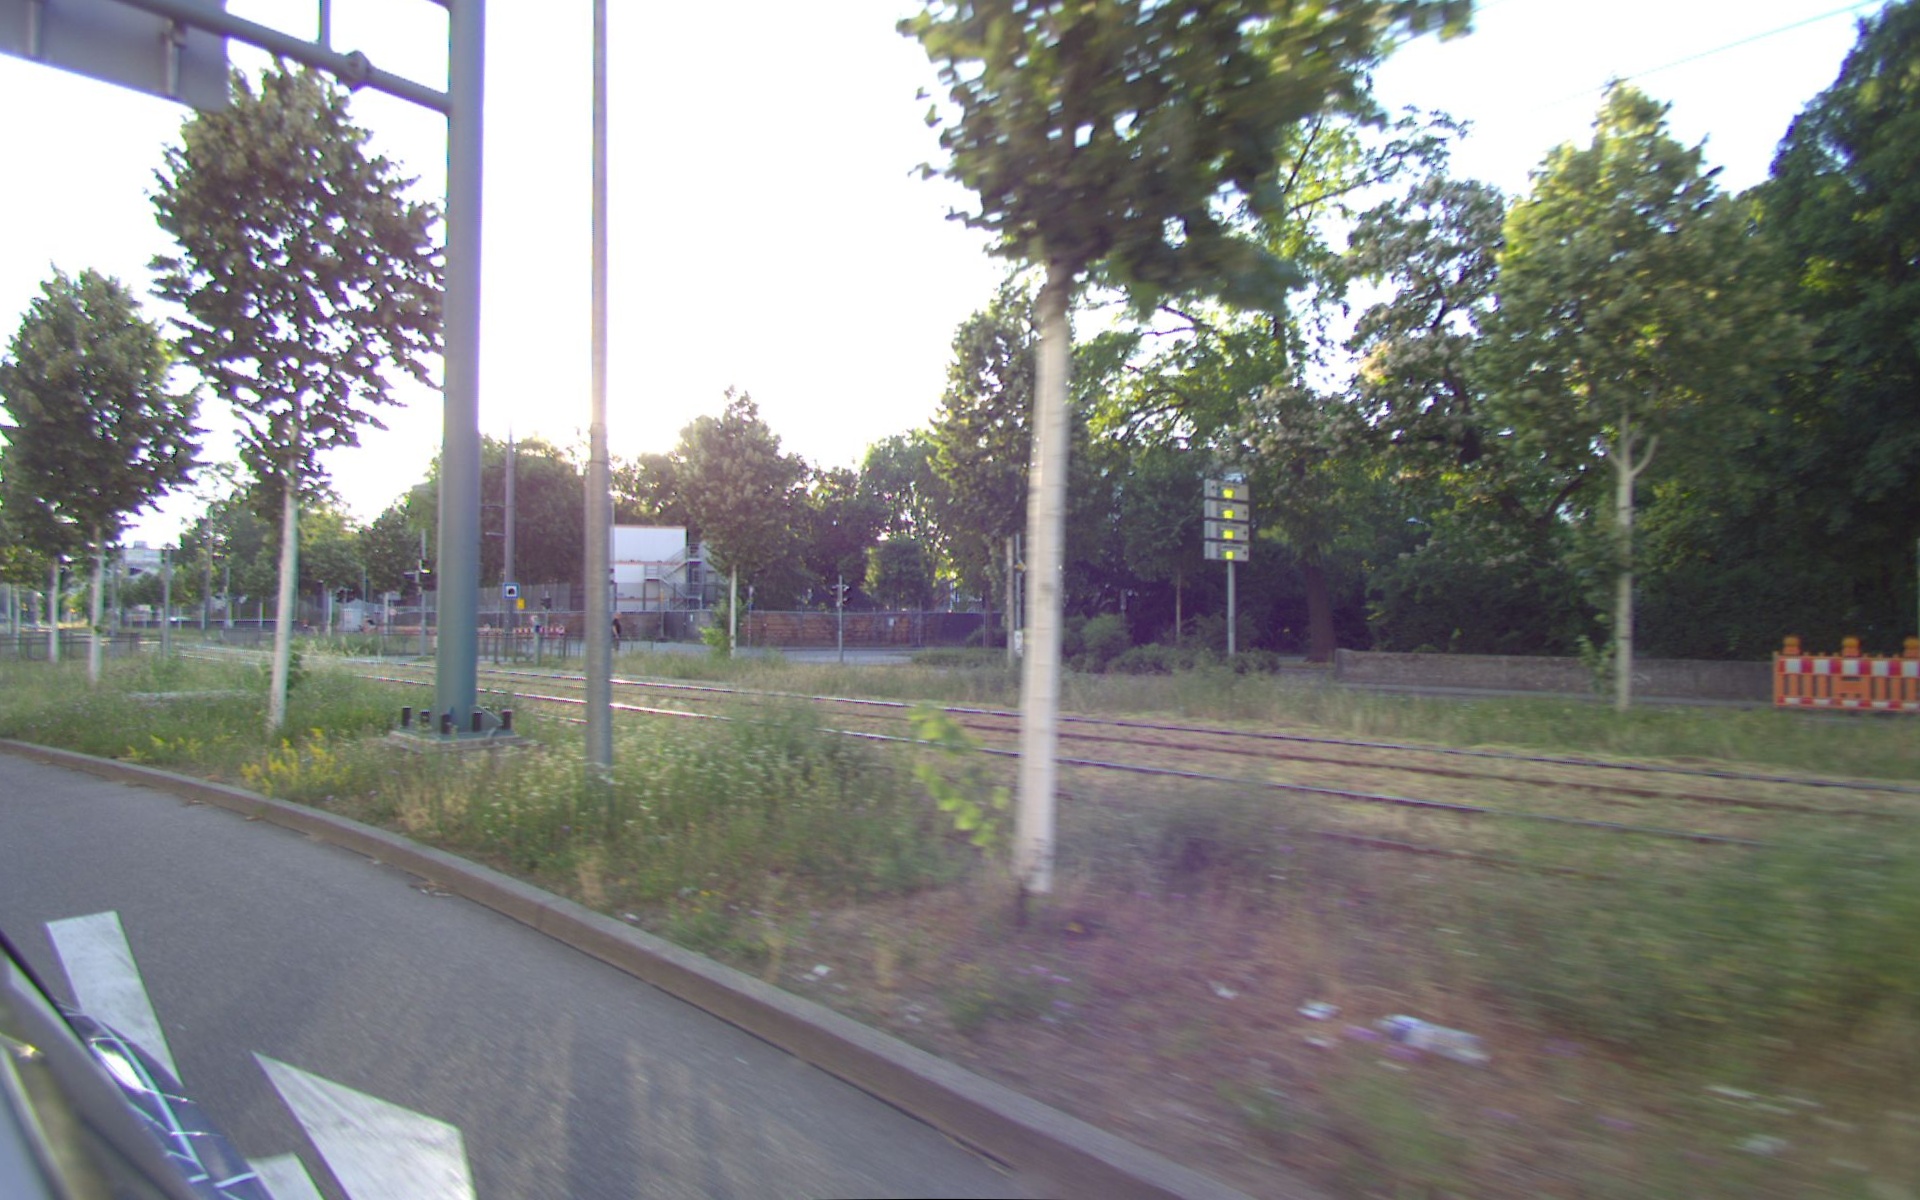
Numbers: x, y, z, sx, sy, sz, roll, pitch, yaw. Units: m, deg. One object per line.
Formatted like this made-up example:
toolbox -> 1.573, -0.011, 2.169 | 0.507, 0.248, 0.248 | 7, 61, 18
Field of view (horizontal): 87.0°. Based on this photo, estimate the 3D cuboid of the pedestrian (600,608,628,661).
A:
pedestrian -> -11.051, 1.110, 32.332 | 0.660, 1.620, 0.679 | -2, -4, -29

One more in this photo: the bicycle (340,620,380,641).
bicycle -> -34.678, 1.762, 58.513 | 1.866, 1.142, 0.719 | -2, 0, -19

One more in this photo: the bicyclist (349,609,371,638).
bicyclist -> -34.690, 1.375, 58.514 | 0.928, 1.633, 0.719 | -2, 0, -19
